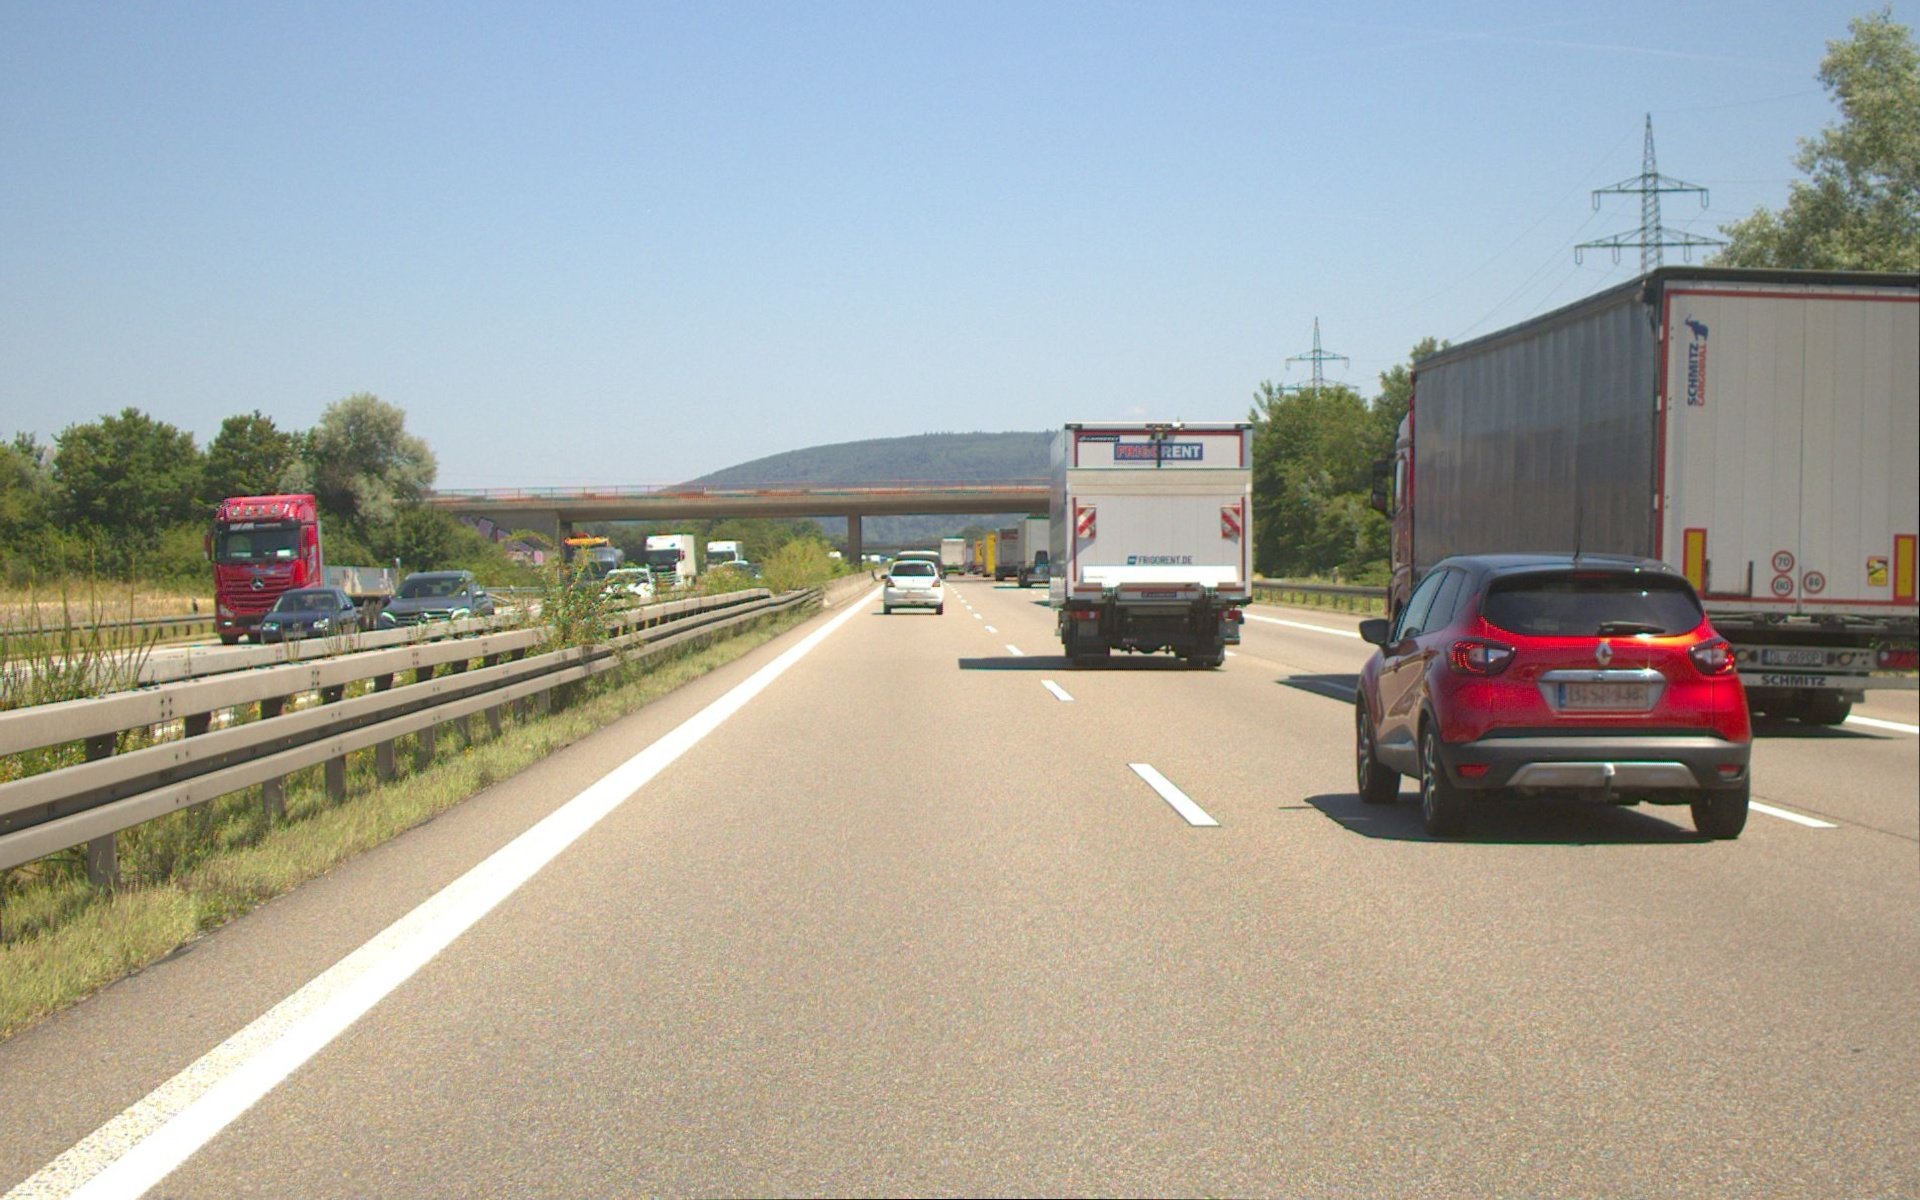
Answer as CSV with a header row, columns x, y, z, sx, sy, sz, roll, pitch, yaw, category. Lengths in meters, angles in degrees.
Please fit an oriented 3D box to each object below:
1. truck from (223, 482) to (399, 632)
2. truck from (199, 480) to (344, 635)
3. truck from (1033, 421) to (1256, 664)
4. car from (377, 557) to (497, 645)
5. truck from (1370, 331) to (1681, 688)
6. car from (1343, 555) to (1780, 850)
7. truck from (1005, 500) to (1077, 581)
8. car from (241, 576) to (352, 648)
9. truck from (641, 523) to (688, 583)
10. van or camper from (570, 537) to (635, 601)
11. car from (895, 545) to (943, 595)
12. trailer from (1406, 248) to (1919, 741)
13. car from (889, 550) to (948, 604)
x,y,z,sx,sy,sz,roll,pitch,yaw,category
-19.010,-1.294,101.630,2.760,4.000,13.524,-3,1,-1,truck
-18.858,-1.185,94.471,2.760,4.000,5.751,-3,1,-1,truck
2.655,-0.841,51.910,2.782,3.361,8.128,0,1,-1,truck
-10.399,-0.004,68.558,1.809,1.642,3.962,-2,1,-1,car
6.912,-1.093,42.816,2.794,4.149,5.723,0,1,-1,truck
3.374,0.511,20.013,1.803,1.540,4.000,0,1,-1,car
4.623,-3.412,199.086,3.520,4.401,14.592,-2,1,-1,truck
-14.631,0.243,76.009,1.733,1.446,3.677,-2,1,-1,car
-20.359,-3.273,237.091,2.680,4.001,5.756,-2,1,-1,truck
-15.237,-1.311,146.698,2.170,2.579,5.874,-3,1,-1,van or camper
-1.537,-1.154,131.096,1.761,1.844,4.000,-1,1,0,car
7.047,-0.987,35.789,2.789,4.149,13.575,0,1,-1,trailer
-1.171,-0.672,98.024,1.607,1.462,4.000,-1,1,0,car
